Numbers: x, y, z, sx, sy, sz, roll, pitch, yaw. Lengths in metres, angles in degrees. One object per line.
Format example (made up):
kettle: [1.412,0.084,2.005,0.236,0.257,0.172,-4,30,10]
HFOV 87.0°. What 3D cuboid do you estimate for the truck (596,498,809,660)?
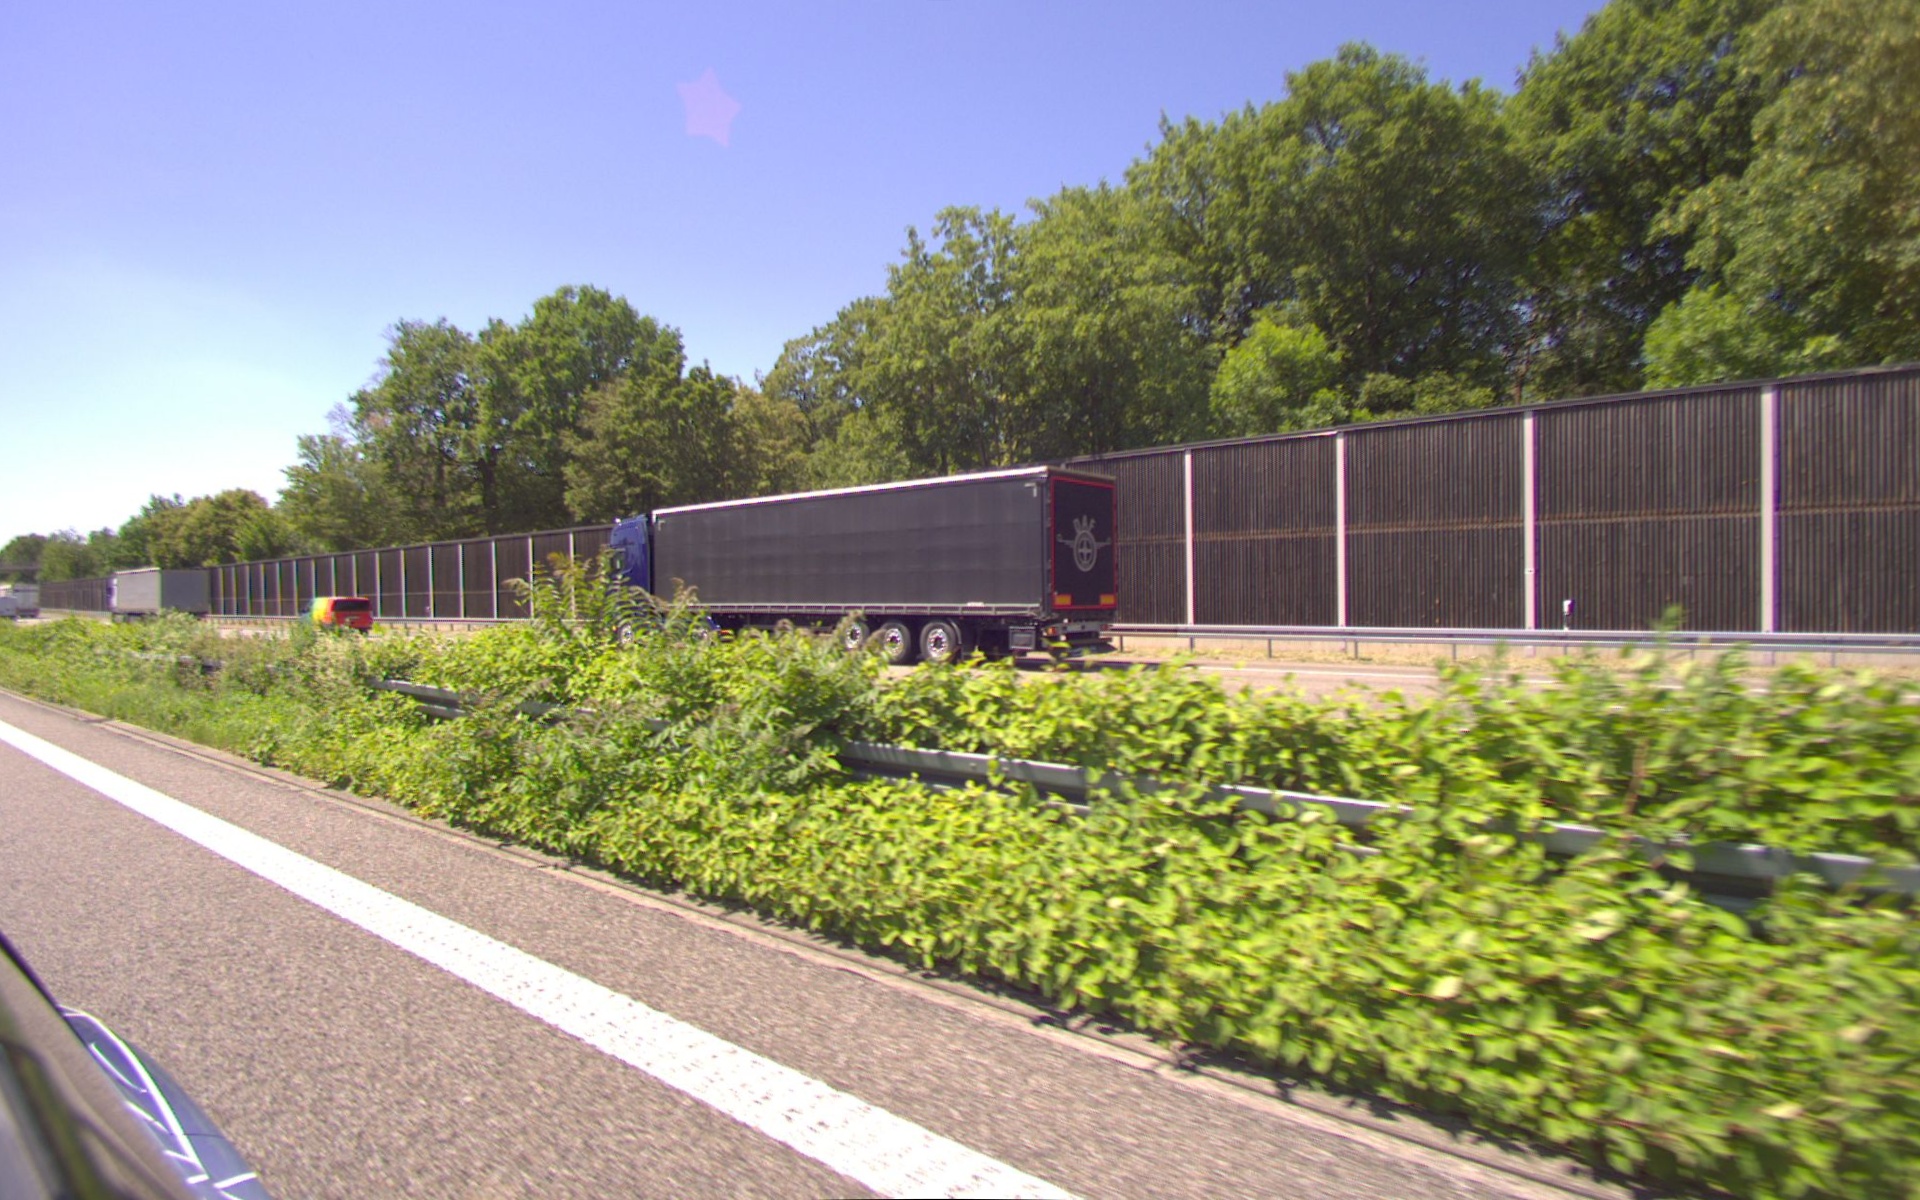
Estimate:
truck: [-7.429,-0.513,28.843,6.114,4.123,2.869,-1,0,41]

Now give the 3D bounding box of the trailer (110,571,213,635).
trailer: [-55.677,0.248,70.376,13.796,4.060,2.932,-1,0,40]

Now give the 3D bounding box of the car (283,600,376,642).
car: [-30.364,1.004,48.655,5.954,1.895,1.974,-1,0,39]

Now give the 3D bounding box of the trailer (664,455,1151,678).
trailer: [-2.040,-0.578,24.196,13.324,4.123,2.869,-1,0,41]

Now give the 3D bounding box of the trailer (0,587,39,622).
trailer: [-115.052,0.623,123.250,13.003,4.060,3.059,-1,0,42]

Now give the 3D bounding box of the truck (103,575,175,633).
truck: [-60.254,0.302,74.239,6.591,4.060,2.922,-1,0,40]

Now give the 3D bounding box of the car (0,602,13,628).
car: [-96.268,1.522,100.930,5.703,2.527,2.109,-1,-1,41]
